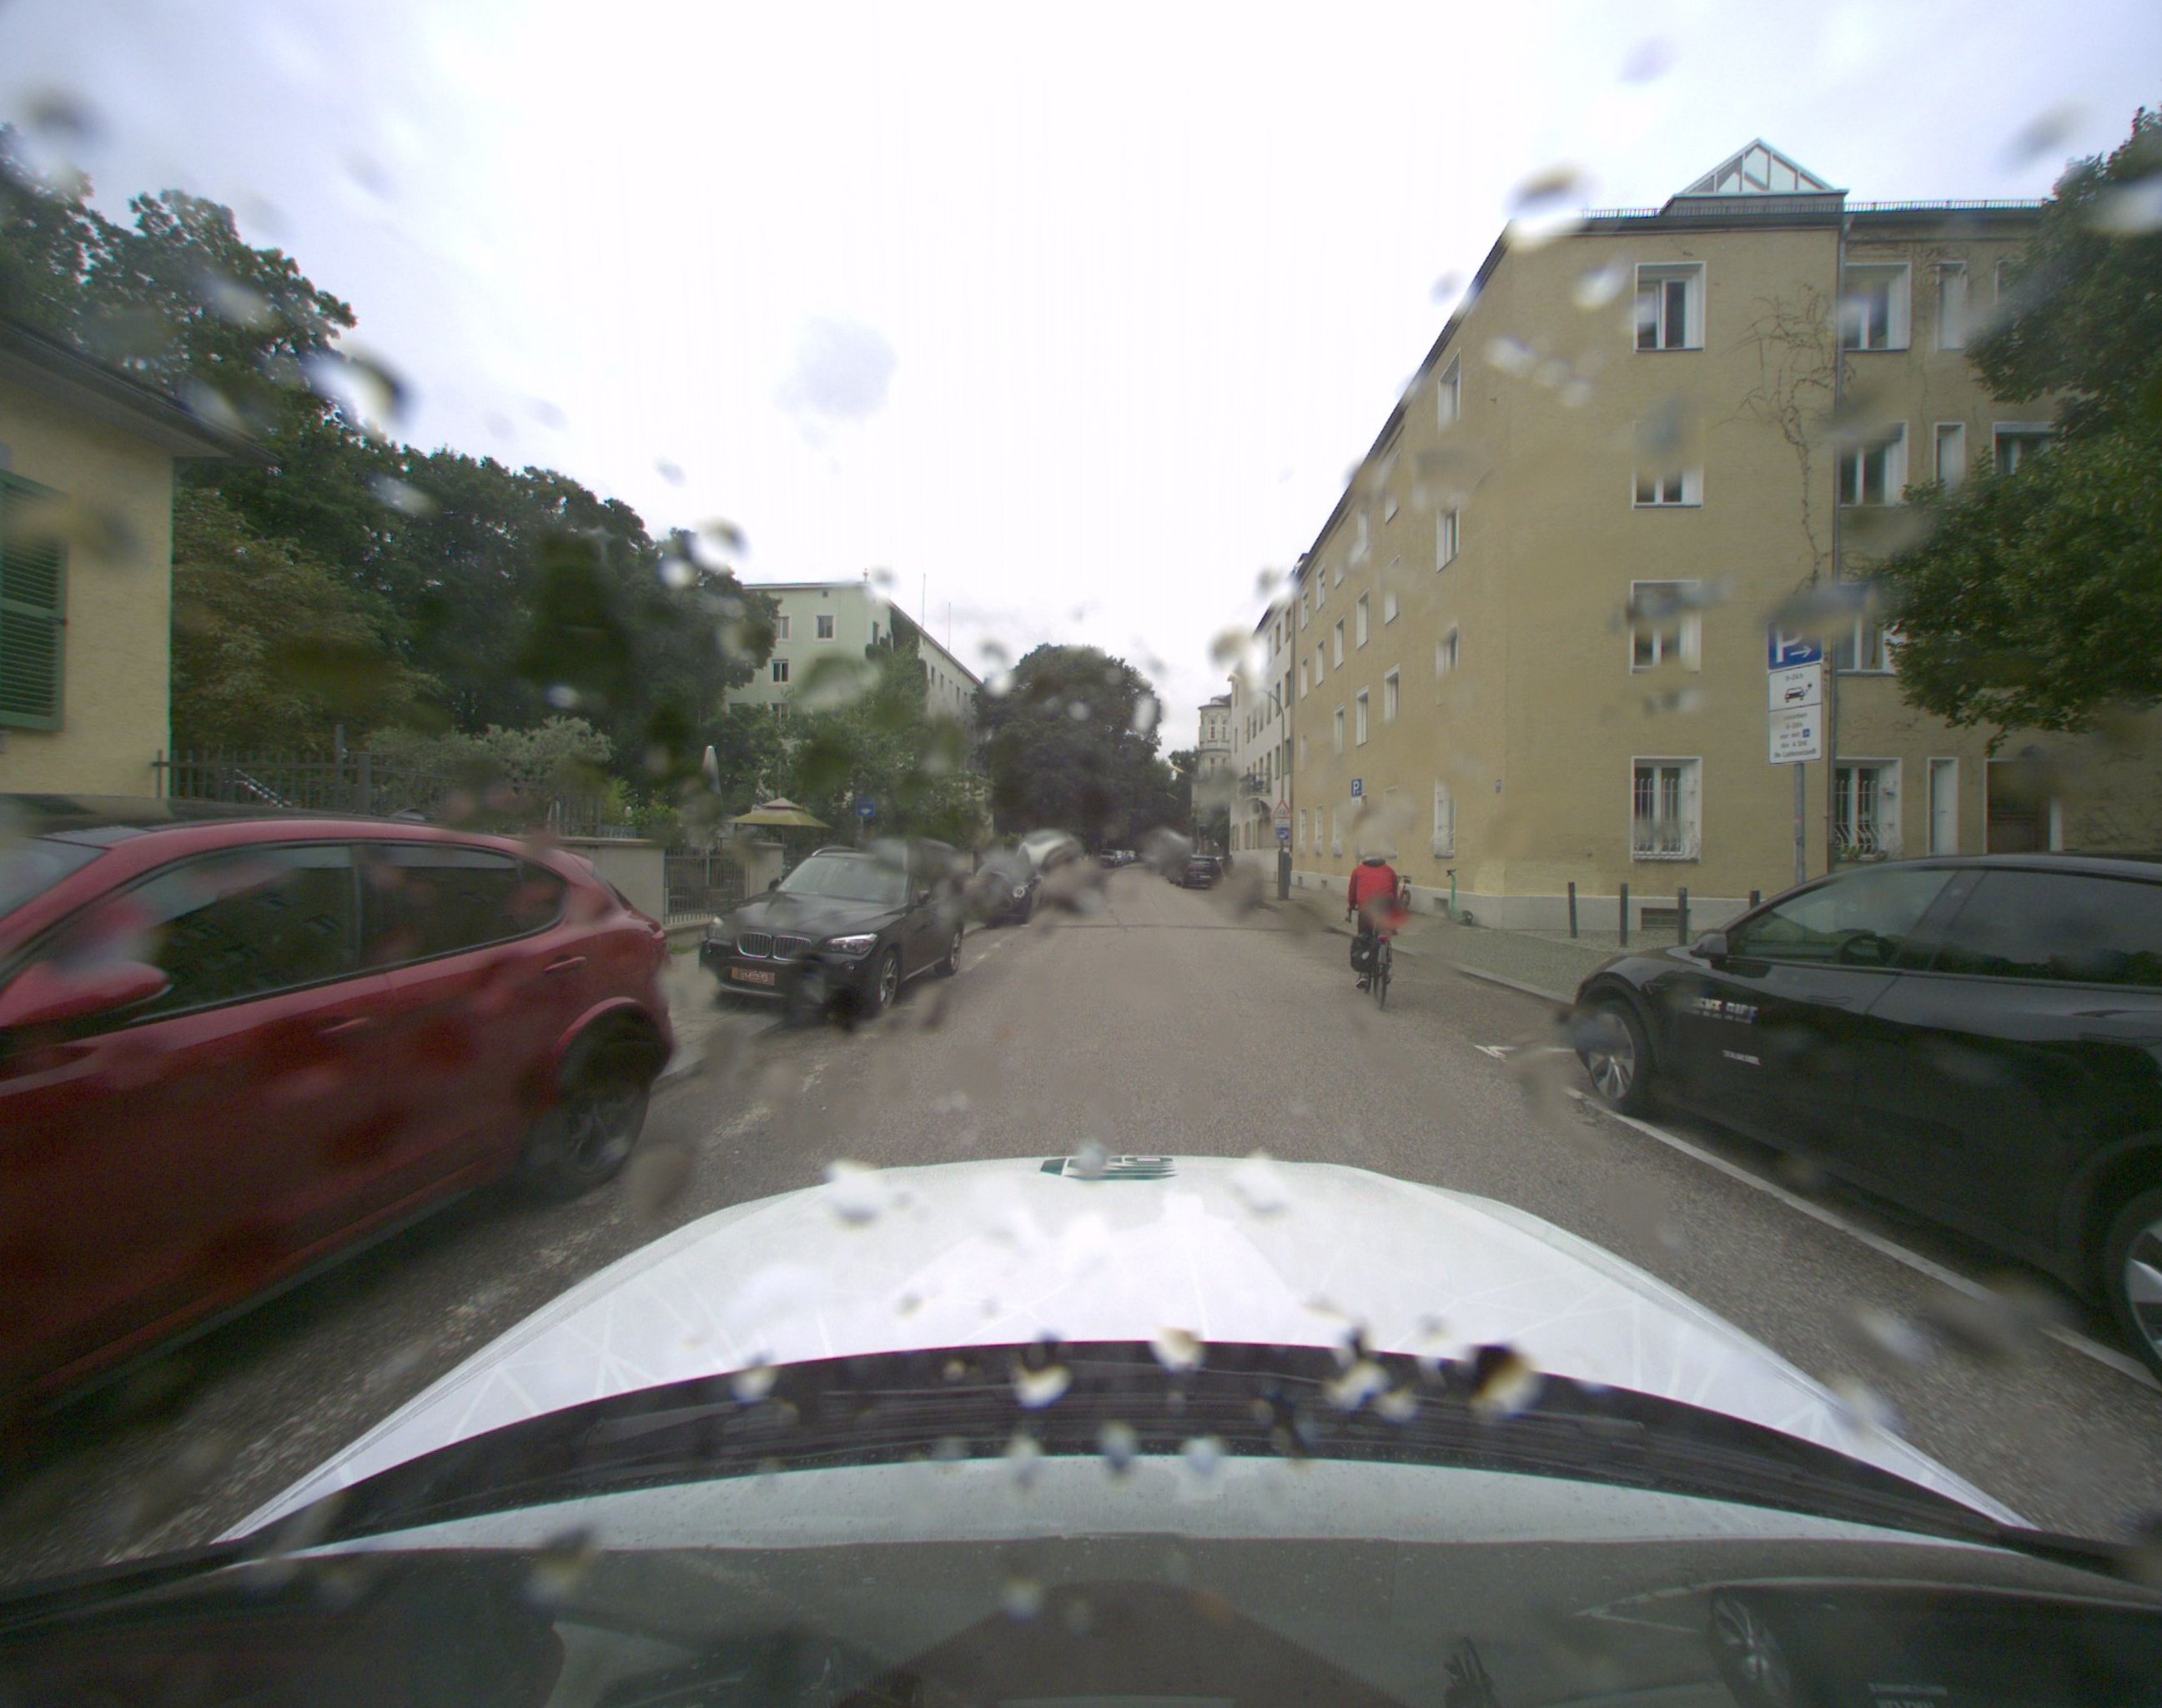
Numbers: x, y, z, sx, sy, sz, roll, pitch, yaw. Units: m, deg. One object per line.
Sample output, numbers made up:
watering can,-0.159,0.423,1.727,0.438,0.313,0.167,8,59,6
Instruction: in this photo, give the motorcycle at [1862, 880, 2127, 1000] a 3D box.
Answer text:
motorcycle,9.516,0.881,8.542,1.886,1.133,0.709,-2,-1,3

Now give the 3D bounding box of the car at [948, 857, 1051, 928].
car,-1.911,0.867,20.322,1.850,1.544,4.192,-1,0,4

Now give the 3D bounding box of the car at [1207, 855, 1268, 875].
car,13.210,0.928,68.861,4.886,1.531,1.915,0,2,3

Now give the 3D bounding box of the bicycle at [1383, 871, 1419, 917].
bicycle,8.446,1.036,21.536,0.340,1.135,1.760,0,0,2

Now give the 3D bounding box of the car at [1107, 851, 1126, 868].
car,4.457,0.711,101.609,2.174,1.956,5.170,2,0,3

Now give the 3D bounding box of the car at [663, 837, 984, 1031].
car,-2.534,0.699,9.458,1.837,1.607,4.748,2,0,4

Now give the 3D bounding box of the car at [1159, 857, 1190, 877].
car,6.877,0.923,60.491,1.991,1.319,4.599,-2,0,3

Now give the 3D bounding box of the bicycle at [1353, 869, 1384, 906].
bicycle,8.943,1.030,25.384,0.340,1.082,1.814,-2,-1,2

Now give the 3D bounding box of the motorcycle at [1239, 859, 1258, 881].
motorcycle,9.840,0.924,47.781,0.729,1.239,2.008,2,0,2

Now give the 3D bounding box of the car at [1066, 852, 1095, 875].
car,-0.020,0.707,61.889,1.879,1.590,4.531,2,0,3

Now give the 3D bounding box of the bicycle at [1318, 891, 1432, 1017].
bicycle,3.203,1.035,9.062,0.669,1.141,2.013,2,0,5

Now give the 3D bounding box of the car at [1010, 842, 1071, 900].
car,-1.454,0.611,31.386,1.960,1.990,5.152,2,0,1

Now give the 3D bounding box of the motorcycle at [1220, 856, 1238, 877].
motorcycle,10.262,0.849,56.570,0.854,1.433,2.708,1,0,2

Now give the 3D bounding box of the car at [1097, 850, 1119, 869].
car,3.054,0.615,89.948,2.238,1.956,5.458,2,0,3

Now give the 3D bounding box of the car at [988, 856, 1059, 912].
car,-1.679,0.844,25.411,1.881,1.544,4.695,1,0,0

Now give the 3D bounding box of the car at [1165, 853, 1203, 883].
car,6.385,0.827,50.996,1.985,1.707,4.538,3,0,4

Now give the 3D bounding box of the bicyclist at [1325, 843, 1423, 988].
bicyclist,3.194,0.640,8.972,0.751,1.483,0.982,2,-1,5

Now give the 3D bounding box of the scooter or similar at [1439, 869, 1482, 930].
scooter or similar,8.256,0.972,17.755,0.340,1.255,1.310,-1,-1,2

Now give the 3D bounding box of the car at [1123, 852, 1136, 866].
car,8.005,0.859,134.481,1.993,2.186,4.702,2,0,5

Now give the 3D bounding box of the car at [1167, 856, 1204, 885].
car,5.827,0.867,45.709,1.830,1.531,4.421,0,0,4

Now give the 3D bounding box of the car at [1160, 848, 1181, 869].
car,9.801,0.527,89.493,2.194,2.208,4.860,-1,-1,4

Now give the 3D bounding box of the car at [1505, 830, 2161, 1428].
car,4.080,0.789,3.667,1.984,1.631,5.106,2,0,4

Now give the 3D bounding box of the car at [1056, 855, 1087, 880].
car,-0.565,0.829,52.159,1.801,1.402,4.924,2,0,1

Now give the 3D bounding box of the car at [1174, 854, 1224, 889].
car,5.751,0.817,40.265,1.854,1.577,4.900,0,0,1

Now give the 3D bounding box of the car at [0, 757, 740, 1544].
car,-3.195,0.610,2.559,1.894,1.691,4.813,2,0,4
